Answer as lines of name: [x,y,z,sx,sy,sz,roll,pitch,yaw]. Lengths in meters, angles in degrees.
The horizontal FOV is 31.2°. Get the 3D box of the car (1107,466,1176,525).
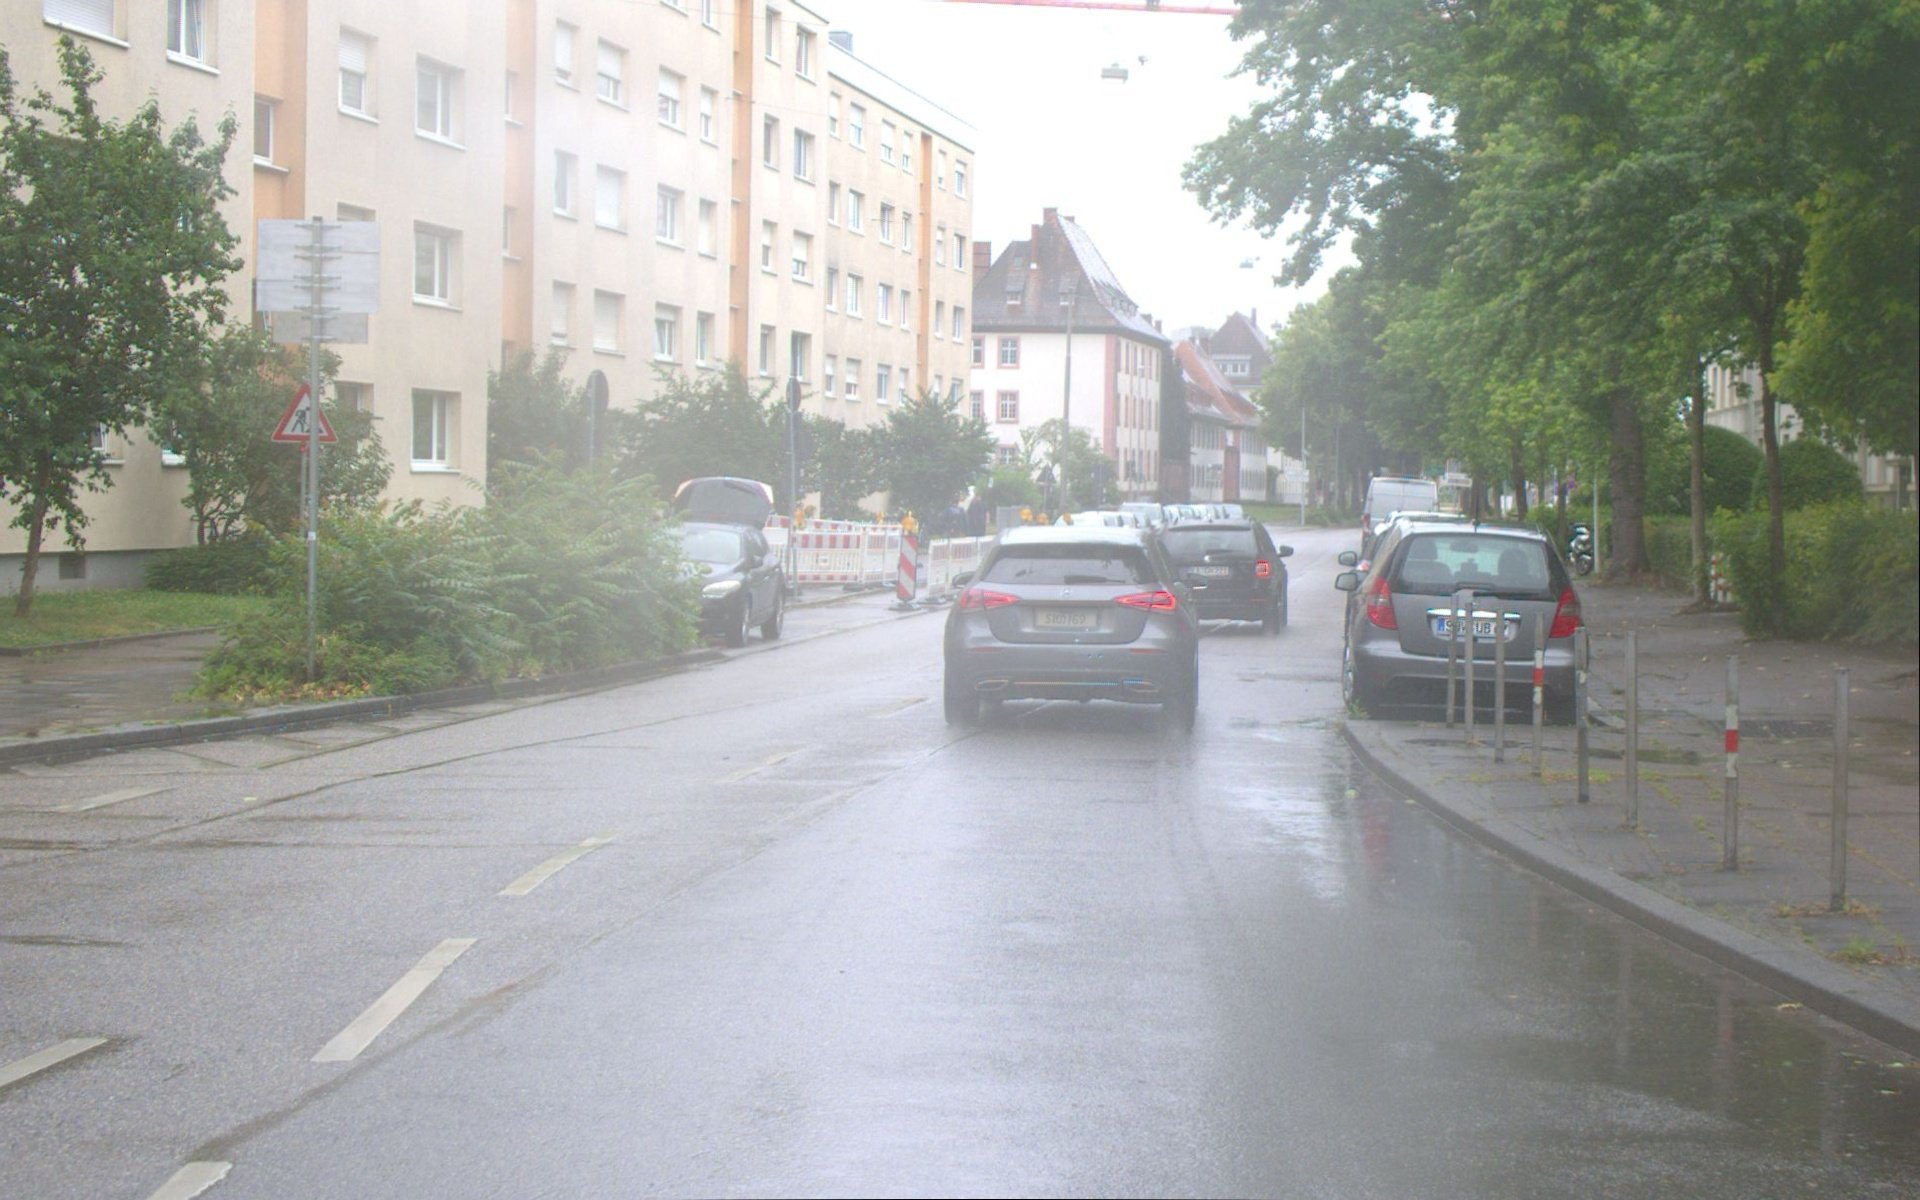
car: [5.787,-3.316,109.141,1.890,1.830,3.999,1,2,7]

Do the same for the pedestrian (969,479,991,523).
pedestrian: [0.629,-3.106,108.141,0.529,1.352,0.585,3,2,11]

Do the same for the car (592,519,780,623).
car: [-3.343,-0.385,42.483,1.590,1.201,3.459,1,2,8]

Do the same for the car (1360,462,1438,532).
car: [12.063,-2.832,94.610,2.047,1.830,4.791,1,2,7]

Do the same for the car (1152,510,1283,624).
car: [3.296,-0.463,44.578,1.607,1.367,4.000,0,2,3]

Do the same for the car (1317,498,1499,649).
car: [4.998,-0.341,38.494,1.890,1.568,3.999,1,2,7]

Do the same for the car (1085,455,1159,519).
car: [4.845,-3.363,102.643,1.890,1.830,3.999,1,2,7]

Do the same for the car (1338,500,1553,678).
car: [4.595,-0.154,32.825,1.890,1.568,3.999,1,2,7]

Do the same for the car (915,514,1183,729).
car: [0.704,0.104,25.379,1.791,1.367,3.507,2,2,3]

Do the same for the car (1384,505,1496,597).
car: [8.574,-0.914,61.602,1.890,1.568,3.999,1,2,7]

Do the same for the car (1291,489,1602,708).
car: [3.739,-0.068,27.067,1.993,1.568,4.000,1,2,2]

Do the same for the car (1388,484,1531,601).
car: [7.037,-0.841,48.728,1.890,1.568,3.999,1,2,7]
